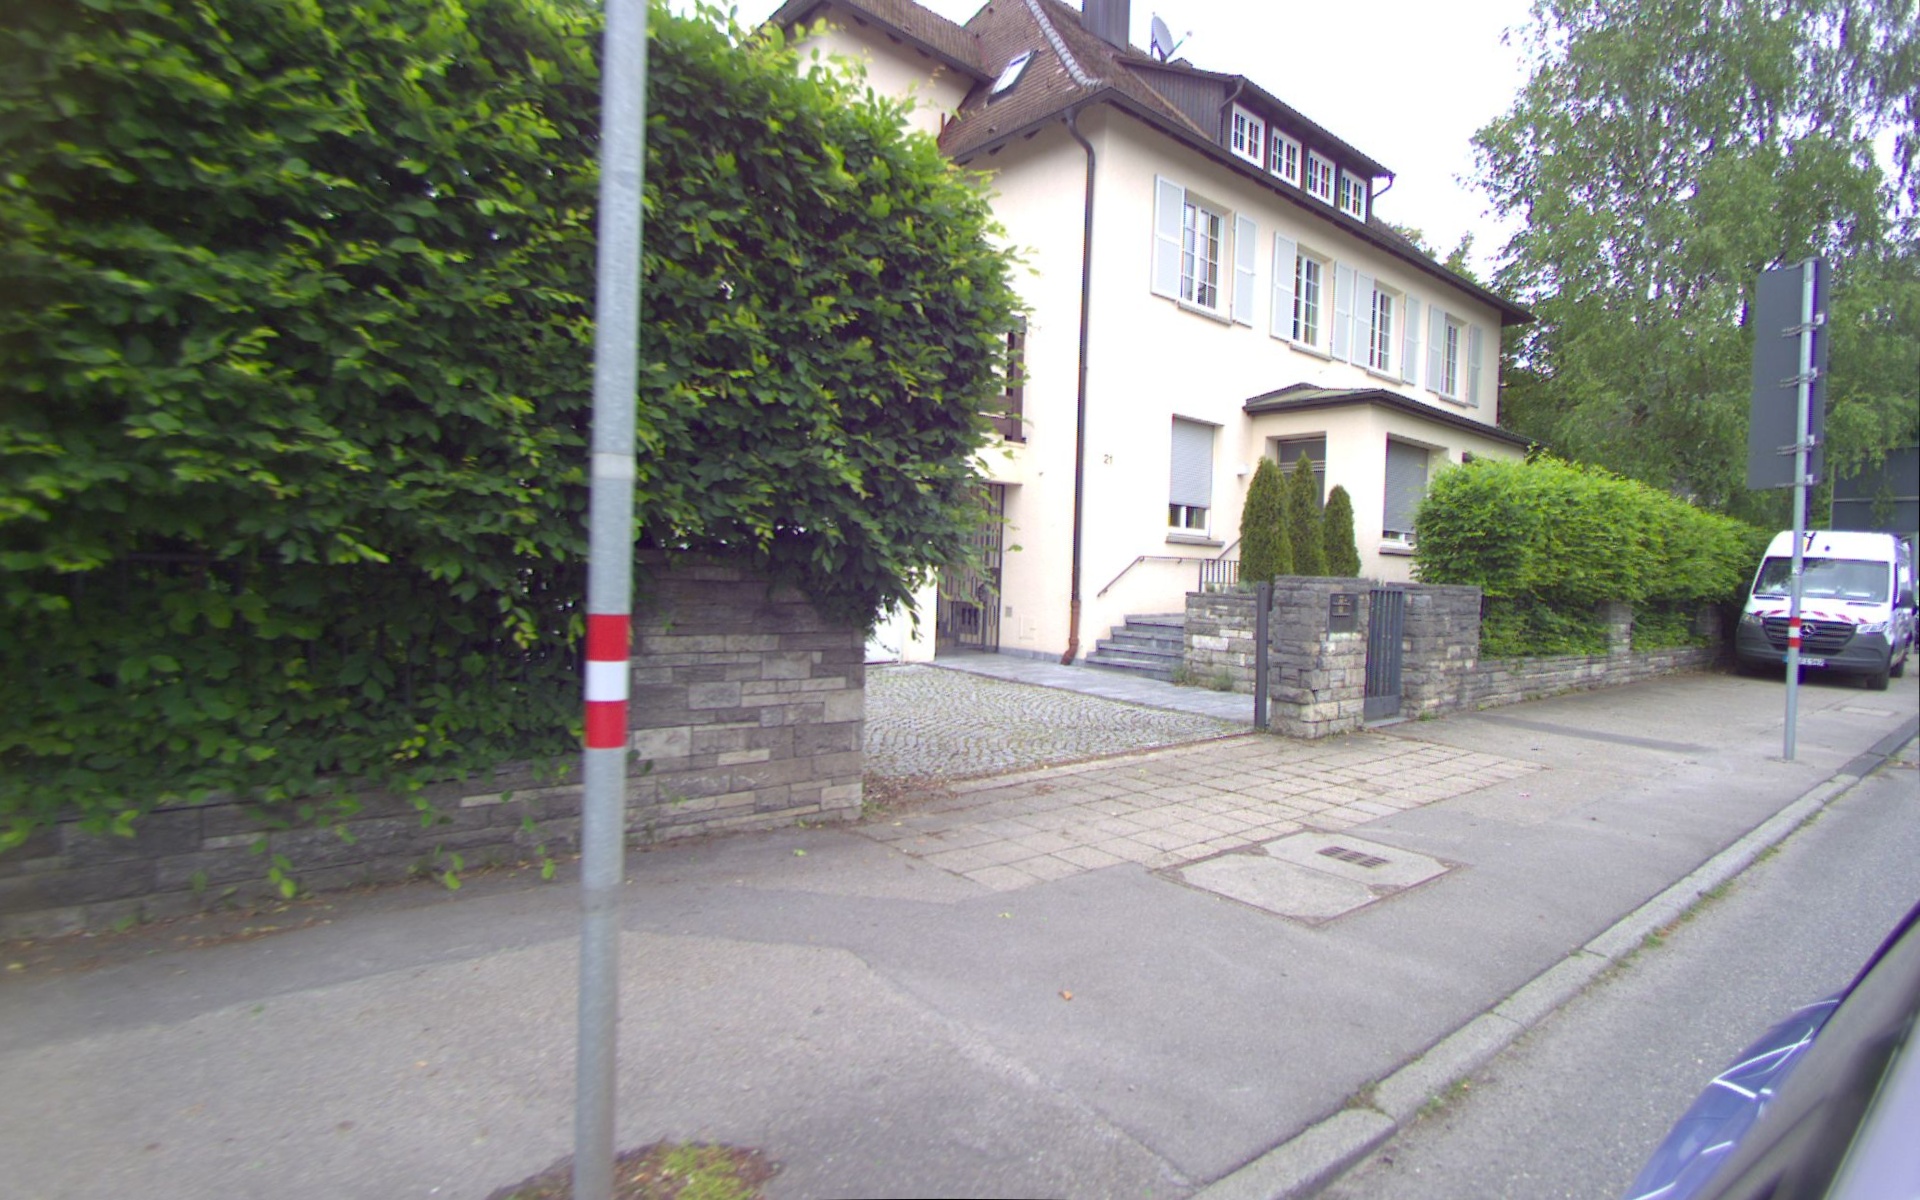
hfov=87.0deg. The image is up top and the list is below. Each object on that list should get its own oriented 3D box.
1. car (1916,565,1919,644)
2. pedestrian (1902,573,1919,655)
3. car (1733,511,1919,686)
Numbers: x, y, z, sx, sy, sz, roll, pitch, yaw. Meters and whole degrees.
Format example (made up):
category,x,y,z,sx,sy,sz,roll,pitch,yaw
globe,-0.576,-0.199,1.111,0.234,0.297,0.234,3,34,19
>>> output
category,x,y,z,sx,sy,sz,roll,pitch,yaw
car,29.534,-0.081,29.349,5.864,2.635,2.045,-1,3,-42
pedestrian,22.179,0.334,23.216,0.774,1.852,0.640,0,5,-44
car,15.968,-0.103,18.309,6.571,2.636,2.092,-1,3,-44
